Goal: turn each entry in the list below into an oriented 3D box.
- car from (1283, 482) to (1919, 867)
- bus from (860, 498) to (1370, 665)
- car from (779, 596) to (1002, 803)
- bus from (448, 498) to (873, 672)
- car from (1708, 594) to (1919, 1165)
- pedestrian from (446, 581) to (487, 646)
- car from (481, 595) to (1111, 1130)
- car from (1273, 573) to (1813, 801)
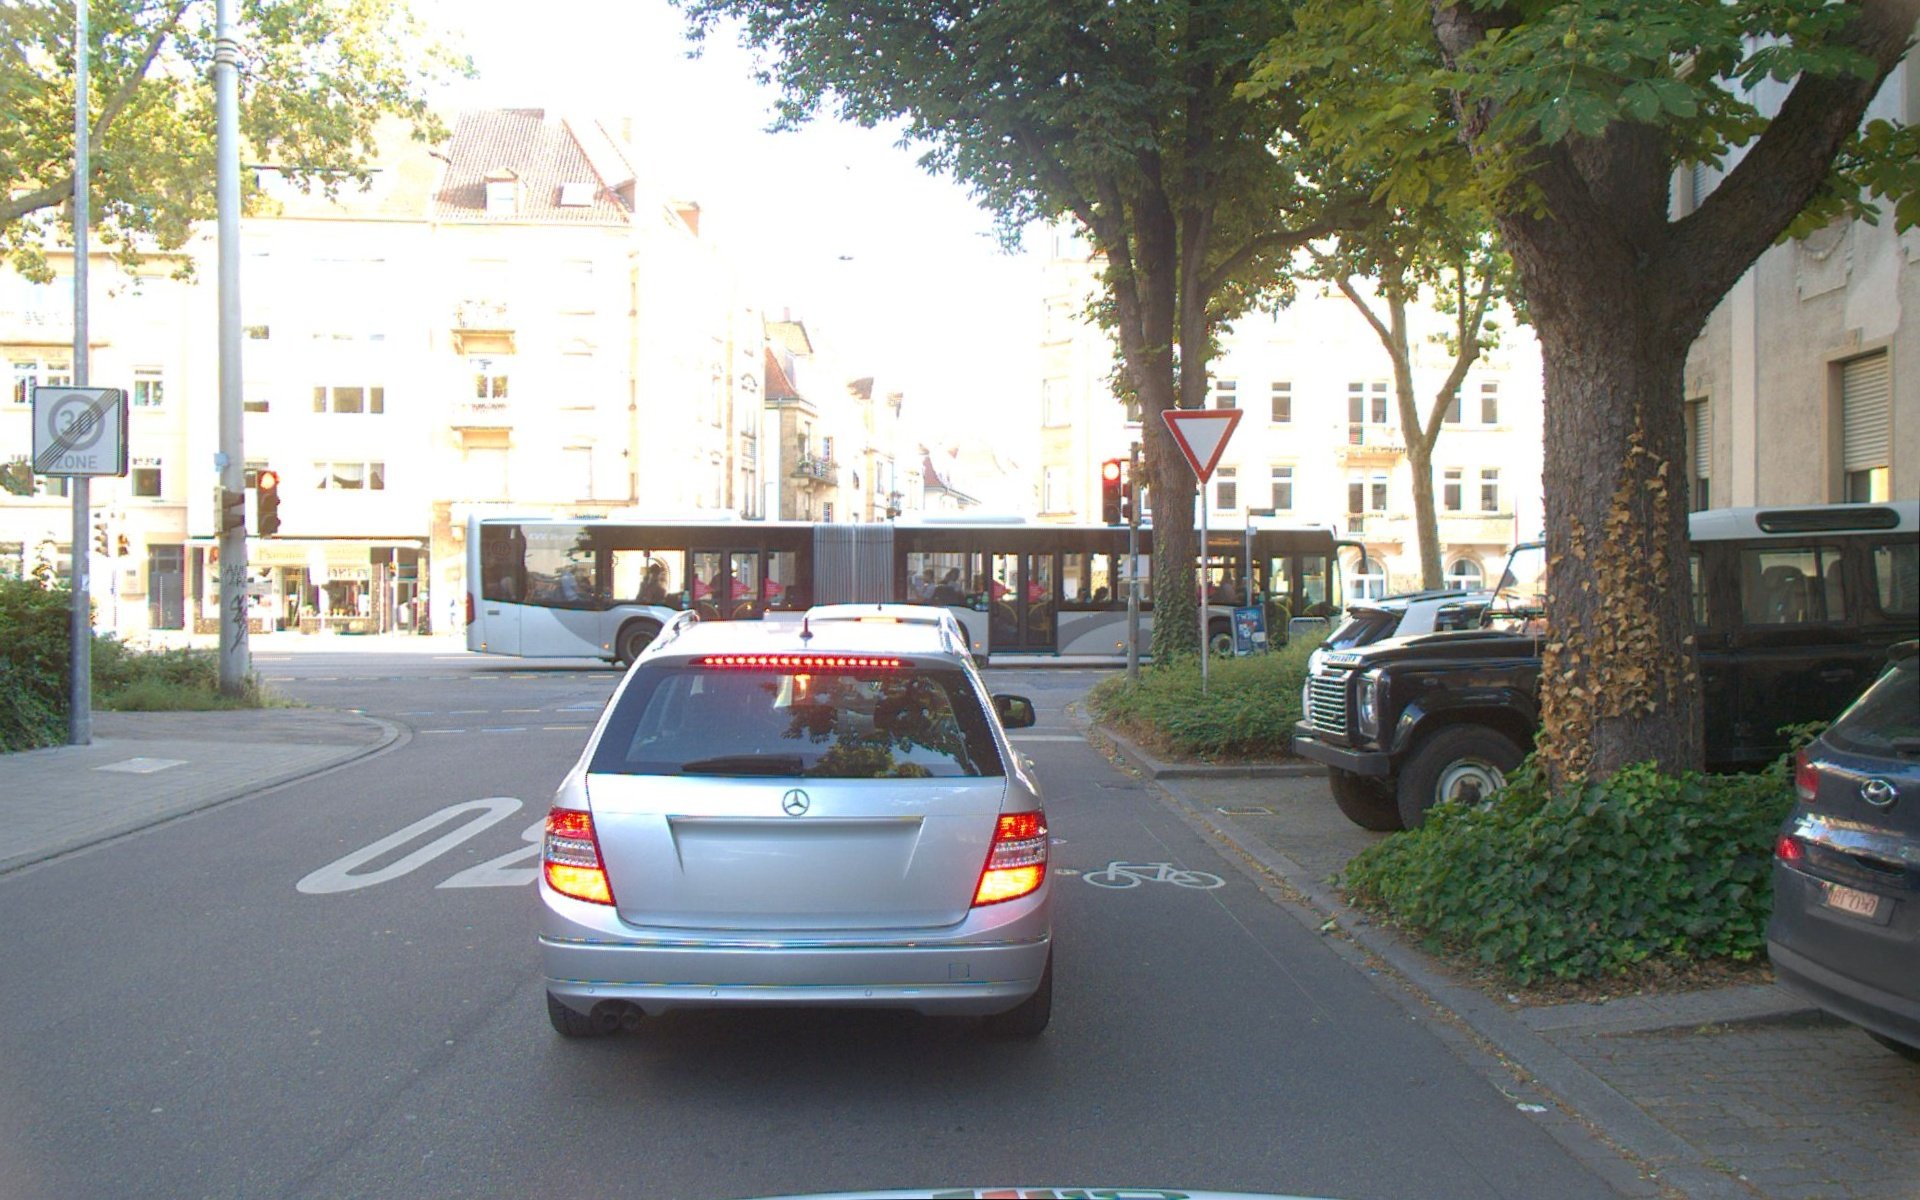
[{"bbox_3d":[4.375,0.395,10.170,4.377,2.072,1.699,-1,0,-4],"label":"car"},{"bbox_3d":[3.151,-0.414,34.643,10.258,3.257,2.906,-1,0,-9],"label":"bus"},{"bbox_3d":[-0.584,0.715,14.019,1.587,1.472,4.342,1,0,-2],"label":"car"},{"bbox_3d":[-5.877,-0.330,33.213,8.024,3.257,2.906,-1,0,-9],"label":"bus"},{"bbox_3d":[4.290,0.691,4.592,3.650,1.477,1.707,-1,0,-4],"label":"car"},{"bbox_3d":[-19.369,0.517,64.938,1.320,2.507,1.059,0,0,-5],"label":"pedestrian"},{"bbox_3d":[-0.543,0.732,6.893,1.741,1.477,4.546,1,0,-2],"label":"car"},{"bbox_3d":[4.517,0.639,13.138,3.650,1.597,1.707,-1,0,-4],"label":"car"}]
